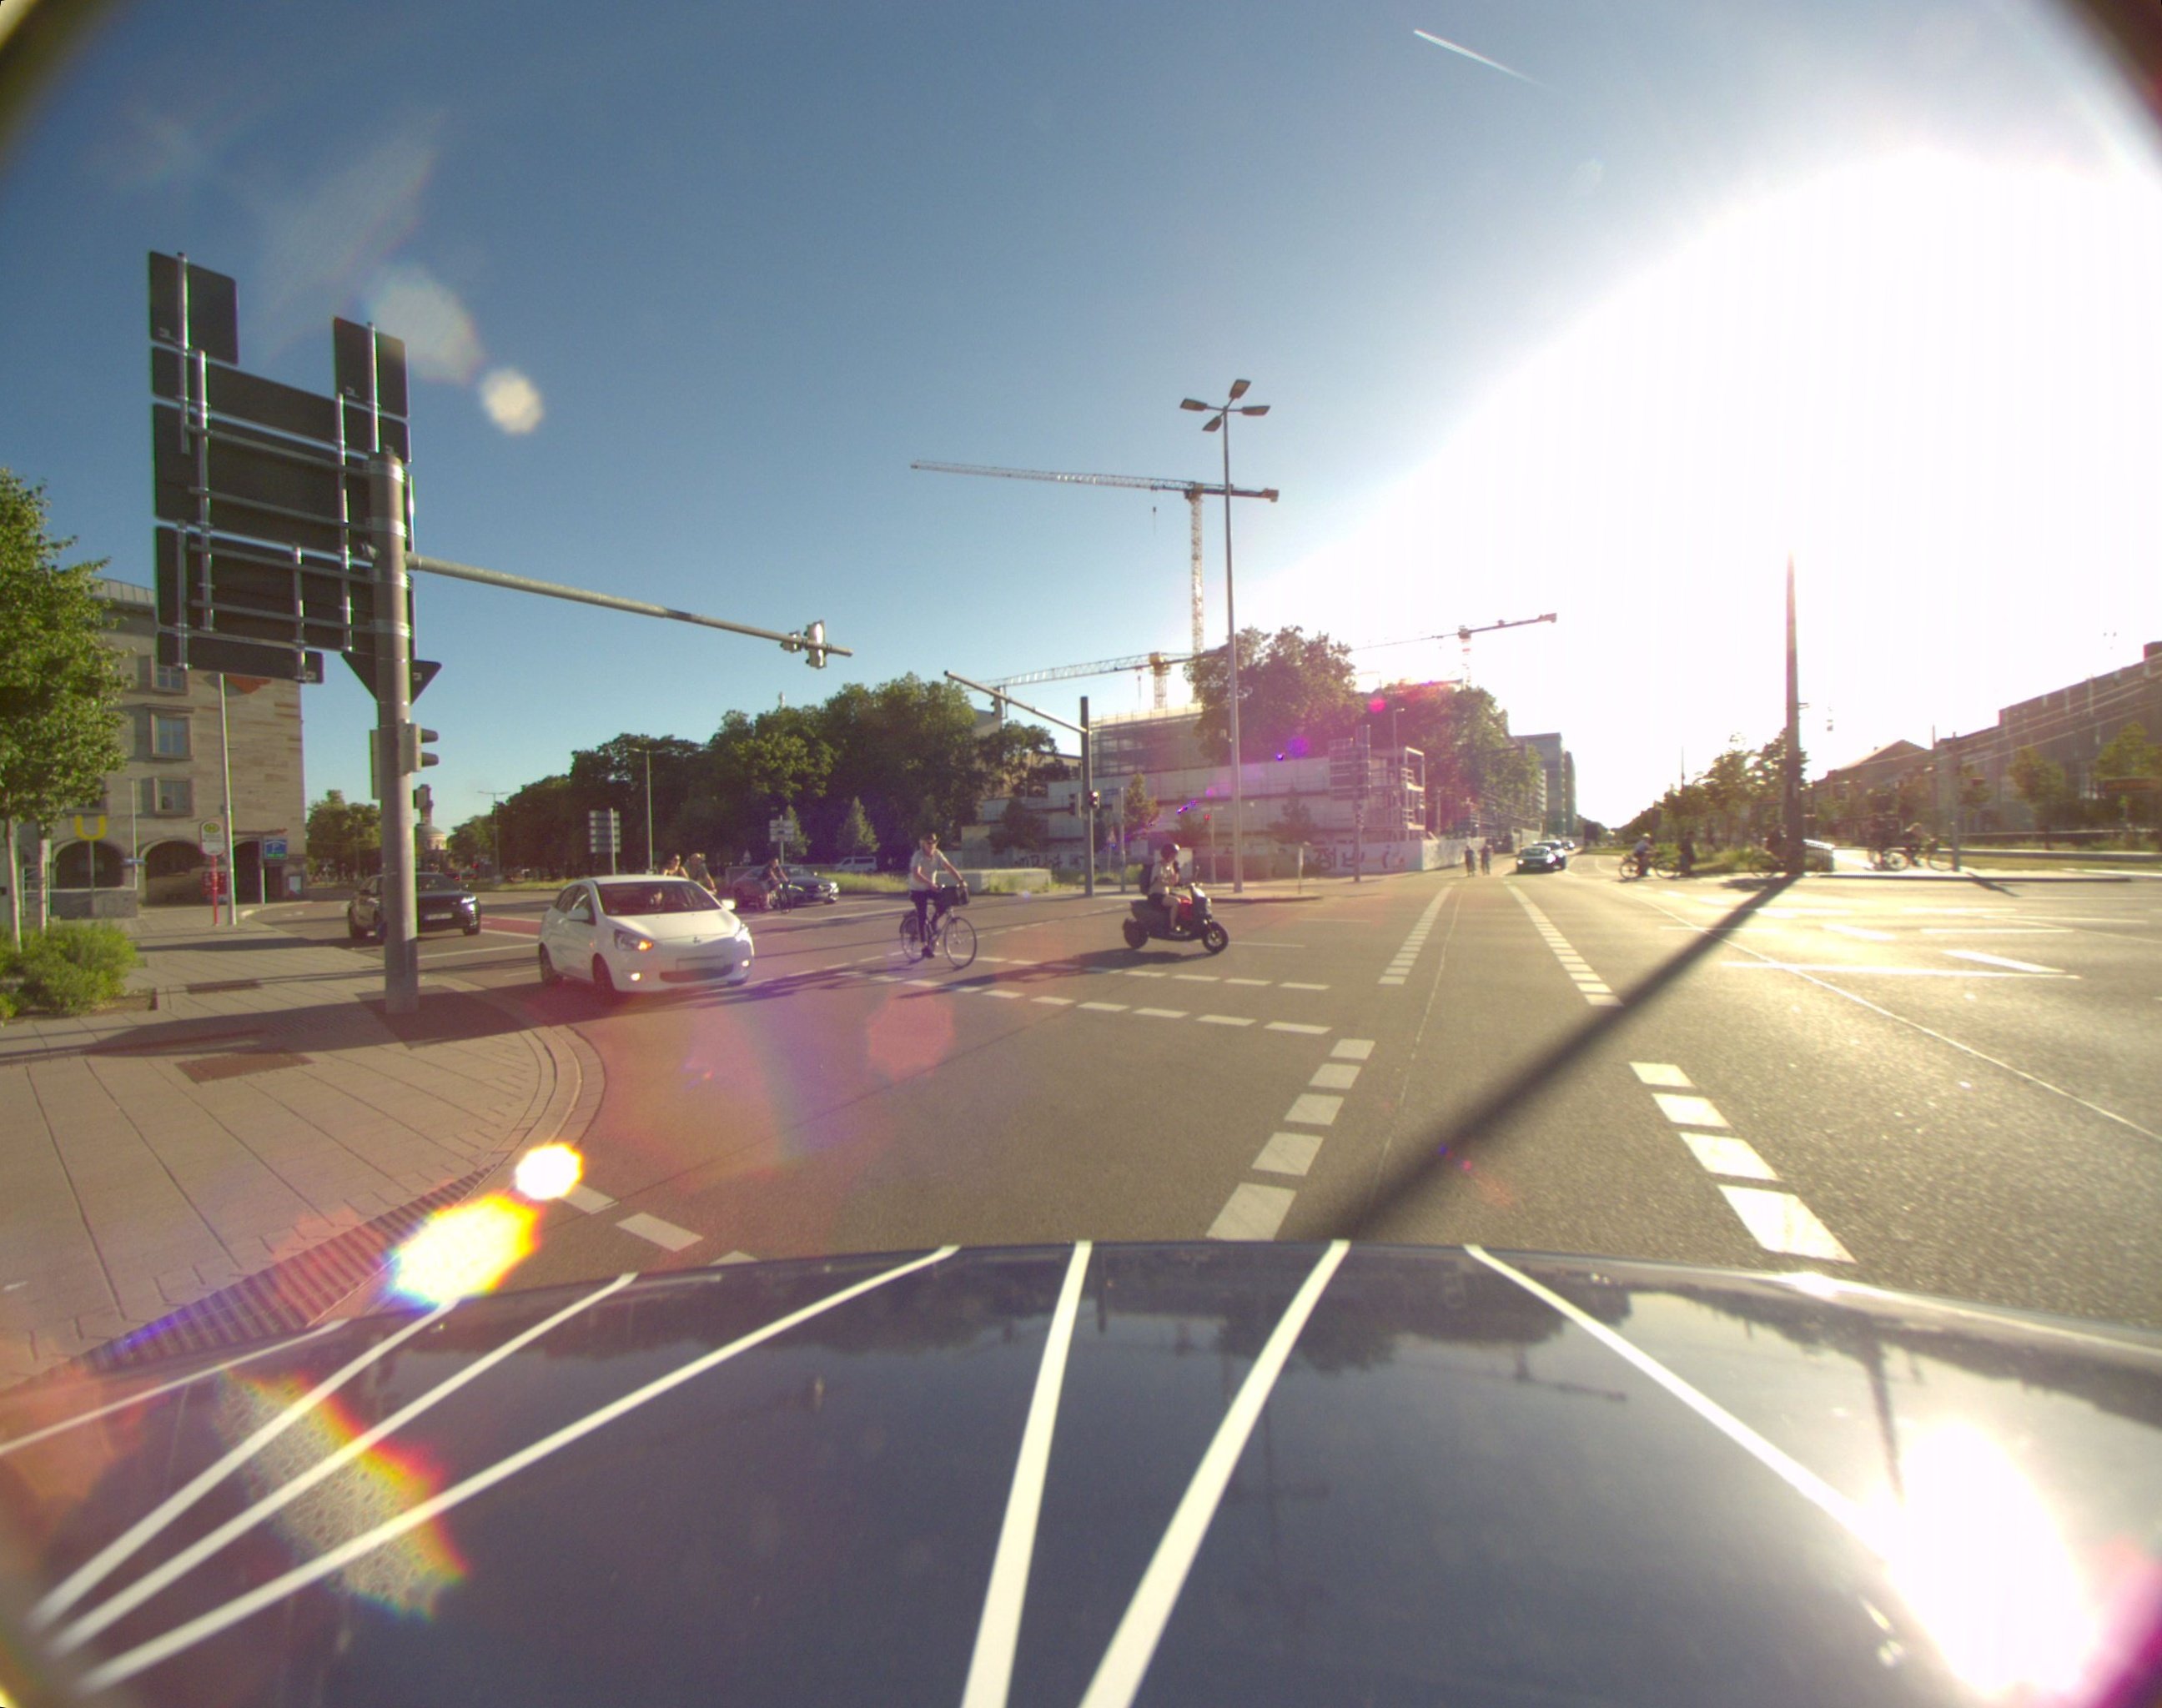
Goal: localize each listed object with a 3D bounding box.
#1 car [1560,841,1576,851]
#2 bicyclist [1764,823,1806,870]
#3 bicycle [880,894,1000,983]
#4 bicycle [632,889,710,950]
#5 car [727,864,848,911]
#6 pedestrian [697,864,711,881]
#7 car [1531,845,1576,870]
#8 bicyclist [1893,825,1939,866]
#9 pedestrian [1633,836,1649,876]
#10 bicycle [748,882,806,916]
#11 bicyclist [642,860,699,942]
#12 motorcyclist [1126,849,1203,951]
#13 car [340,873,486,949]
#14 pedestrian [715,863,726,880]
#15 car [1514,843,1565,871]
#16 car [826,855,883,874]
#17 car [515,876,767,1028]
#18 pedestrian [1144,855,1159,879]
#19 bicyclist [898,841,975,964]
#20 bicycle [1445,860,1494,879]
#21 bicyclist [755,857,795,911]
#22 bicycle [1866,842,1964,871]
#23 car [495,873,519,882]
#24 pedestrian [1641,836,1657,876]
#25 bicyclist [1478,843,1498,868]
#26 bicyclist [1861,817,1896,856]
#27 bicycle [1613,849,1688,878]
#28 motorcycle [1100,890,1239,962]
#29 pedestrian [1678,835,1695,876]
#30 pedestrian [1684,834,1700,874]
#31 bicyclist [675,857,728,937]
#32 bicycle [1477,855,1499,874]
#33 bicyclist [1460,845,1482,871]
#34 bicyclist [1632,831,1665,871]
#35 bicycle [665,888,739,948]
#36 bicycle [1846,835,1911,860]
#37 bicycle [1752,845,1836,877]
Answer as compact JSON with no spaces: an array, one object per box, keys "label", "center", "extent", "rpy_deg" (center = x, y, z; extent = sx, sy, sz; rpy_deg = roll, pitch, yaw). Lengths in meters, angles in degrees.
[{"label":"car","center":[70.871,-1.170,110.492],"extent":[1.781,1.317,4.007],"rpy_deg":[-1,2,34]},{"label":"bicyclist","center":[23.538,-0.248,25.427],"extent":[0.939,1.536,0.650],"rpy_deg":[-2,0,36]},{"label":"bicycle","center":[-2.026,1.148,10.767],"extent":[1.795,1.087,0.710],"rpy_deg":[-1,1,43]},{"label":"bicycle","center":[-8.033,1.249,14.849],"extent":[1.795,1.087,0.653],"rpy_deg":[-1,1,38]},{"label":"car","center":[-9.783,1.052,25.164],"extent":[4.513,1.344,1.780],"rpy_deg":[-1,1,41]},{"label":"pedestrian","center":[-41.164,2.019,82.976],"extent":[0.961,1.773,0.999],"rpy_deg":[0,3,40]},{"label":"car","center":[28.449,0.182,45.714],"extent":[1.995,1.368,4.008],"rpy_deg":[-2,0,36]},{"label":"bicyclist","center":[28.345,-0.285,25.811],"extent":[0.839,1.349,0.807],"rpy_deg":[-2,0,32]},{"label":"pedestrian","center":[21.841,0.066,29.627],"extent":[0.450,1.557,0.521],"rpy_deg":[-1,1,40]},{"label":"bicycle","center":[-8.755,1.267,21.845],"extent":[1.905,0.903,0.626],"rpy_deg":[-1,1,38]},{"label":"bicyclist","center":[-8.017,0.901,14.834],"extent":[0.845,1.534,0.653],"rpy_deg":[-1,1,39]},{"label":"motorcyclist","center":[1.282,0.677,11.690],"extent":[0.879,1.475,0.759],"rpy_deg":[-1,2,34]},{"label":"car","center":[-17.266,1.351,19.550],"extent":[4.778,1.652,2.004],"rpy_deg":[-1,0,39]},{"label":"pedestrian","center":[-36.639,1.792,77.237],"extent":[0.696,1.716,0.666],"rpy_deg":[-1,1,40]},{"label":"car","center":[24.650,0.158,40.793],"extent":[1.995,1.368,4.008],"rpy_deg":[-2,0,36]},{"label":"car","center":[-23.853,1.082,80.156],"extent":[1.995,1.880,5.341],"rpy_deg":[-2,0,45]},{"label":"car","center":[-5.853,1.082,9.913],"extent":[3.957,1.463,1.664],"rpy_deg":[-1,2,43]},{"label":"pedestrian","center":[4.282,0.775,45.989],"extent":[0.652,1.445,0.605],"rpy_deg":[-1,1,40]},{"label":"bicyclist","center":[-2.046,0.655,10.754],"extent":[0.784,1.659,0.703],"rpy_deg":[-1,1,43]},{"label":"bicycle","center":[19.641,0.786,38.481],"extent":[0.807,0.922,2.072],"rpy_deg":[-2,0,-34]},{"label":"bicyclist","center":[-8.811,0.860,21.870],"extent":[0.935,1.495,0.626],"rpy_deg":[-1,2,38]},{"label":"bicycle","center":[28.308,0.091,25.839],"extent":[2.072,0.922,0.807],"rpy_deg":[-2,0,32]},{"label":"car","center":[-79.110,3.239,104.707],"extent":[3.760,1.126,1.622],"rpy_deg":[-1,1,38]},{"label":"pedestrian","center":[22.426,0.060,29.990],"extent":[0.450,1.557,0.521],"rpy_deg":[-1,1,40]},{"label":"bicyclist","center":[21.577,0.097,40.278],"extent":[0.803,1.290,0.778],"rpy_deg":[-2,0,35]},{"label":"bicyclist","center":[31.963,-0.699,30.460],"extent":[0.754,1.496,0.618],"rpy_deg":[-1,1,18]},{"label":"bicycle","center":[20.512,0.360,27.376],"extent":[2.071,0.973,0.807],"rpy_deg":[-2,0,42]},{"label":"motorcycle","center":[1.339,1.064,11.661],"extent":[1.954,0.963,0.759],"rpy_deg":[-1,1,34]},{"label":"pedestrian","center":[23.071,0.061,28.947],"extent":[0.450,1.557,0.521],"rpy_deg":[-1,1,40]},{"label":"pedestrian","center":[23.873,0.000,29.704],"extent":[0.450,1.557,0.521],"rpy_deg":[-1,1,40]},{"label":"bicyclist","center":[-7.746,0.859,15.508],"extent":[0.892,1.566,0.627],"rpy_deg":[-1,1,39]},{"label":"bicycle","center":[21.589,0.545,40.274],"extent":[0.803,0.922,2.081],"rpy_deg":[-2,0,35]},{"label":"bicyclist","center":[19.703,0.189,38.371],"extent":[0.807,1.263,0.636],"rpy_deg":[-2,0,-34]},{"label":"bicyclist","center":[20.466,-0.094,27.414],"extent":[0.841,1.394,0.807],"rpy_deg":[-2,0,42]},{"label":"bicycle","center":[-7.749,1.266,15.514],"extent":[1.811,1.110,0.627],"rpy_deg":[-1,1,39]},{"label":"bicycle","center":[32.000,-0.253,30.534],"extent":[0.754,0.935,2.398],"rpy_deg":[-1,0,18]},{"label":"bicycle","center":[23.708,0.239,25.311],"extent":[1.973,0.991,0.650],"rpy_deg":[-2,0,36]}]
